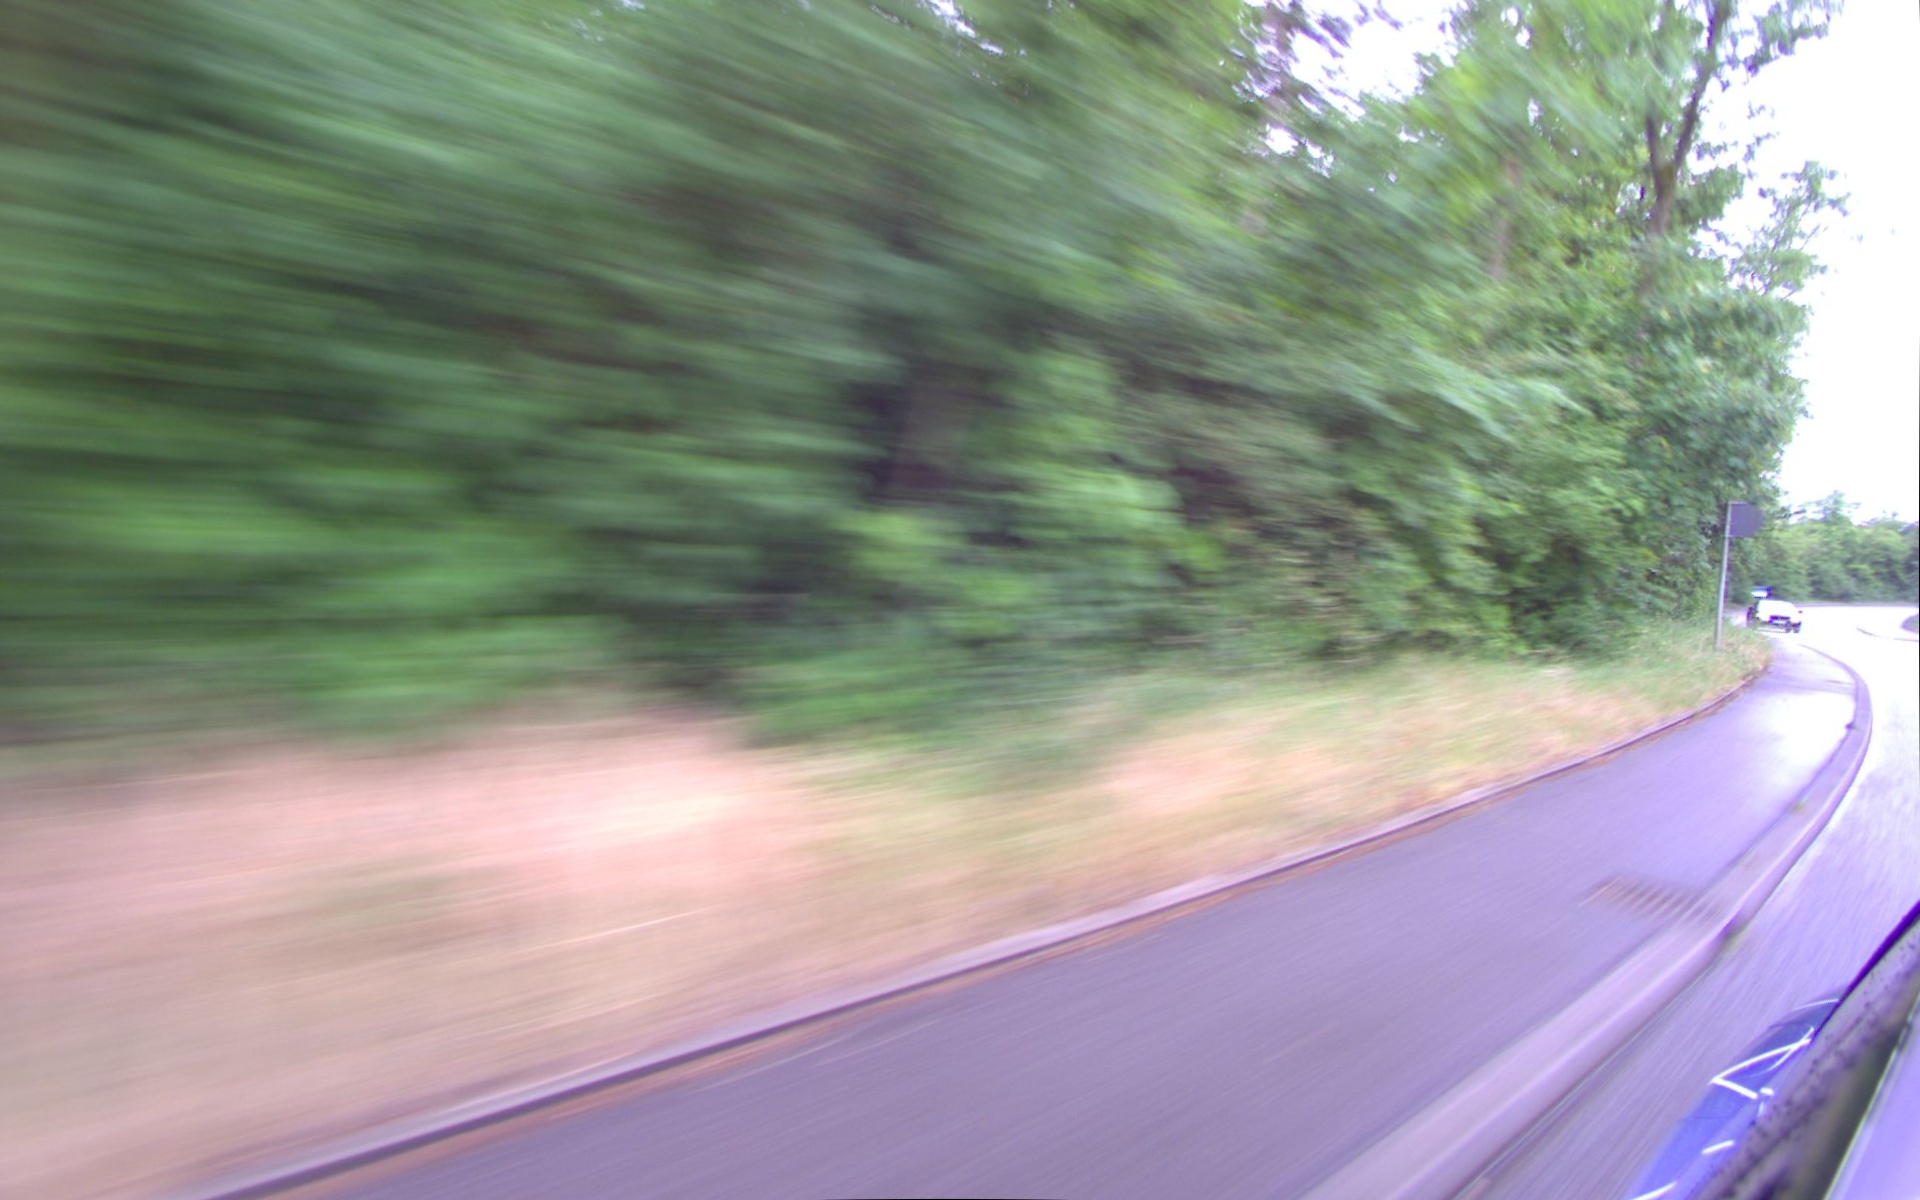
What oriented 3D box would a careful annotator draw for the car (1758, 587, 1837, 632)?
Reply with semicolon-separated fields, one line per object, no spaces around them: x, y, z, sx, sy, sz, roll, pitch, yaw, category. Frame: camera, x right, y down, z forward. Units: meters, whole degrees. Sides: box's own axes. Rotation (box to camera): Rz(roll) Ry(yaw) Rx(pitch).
39.316;0.445;47.492;3.926;1.536;1.836;6;6;-38;car
